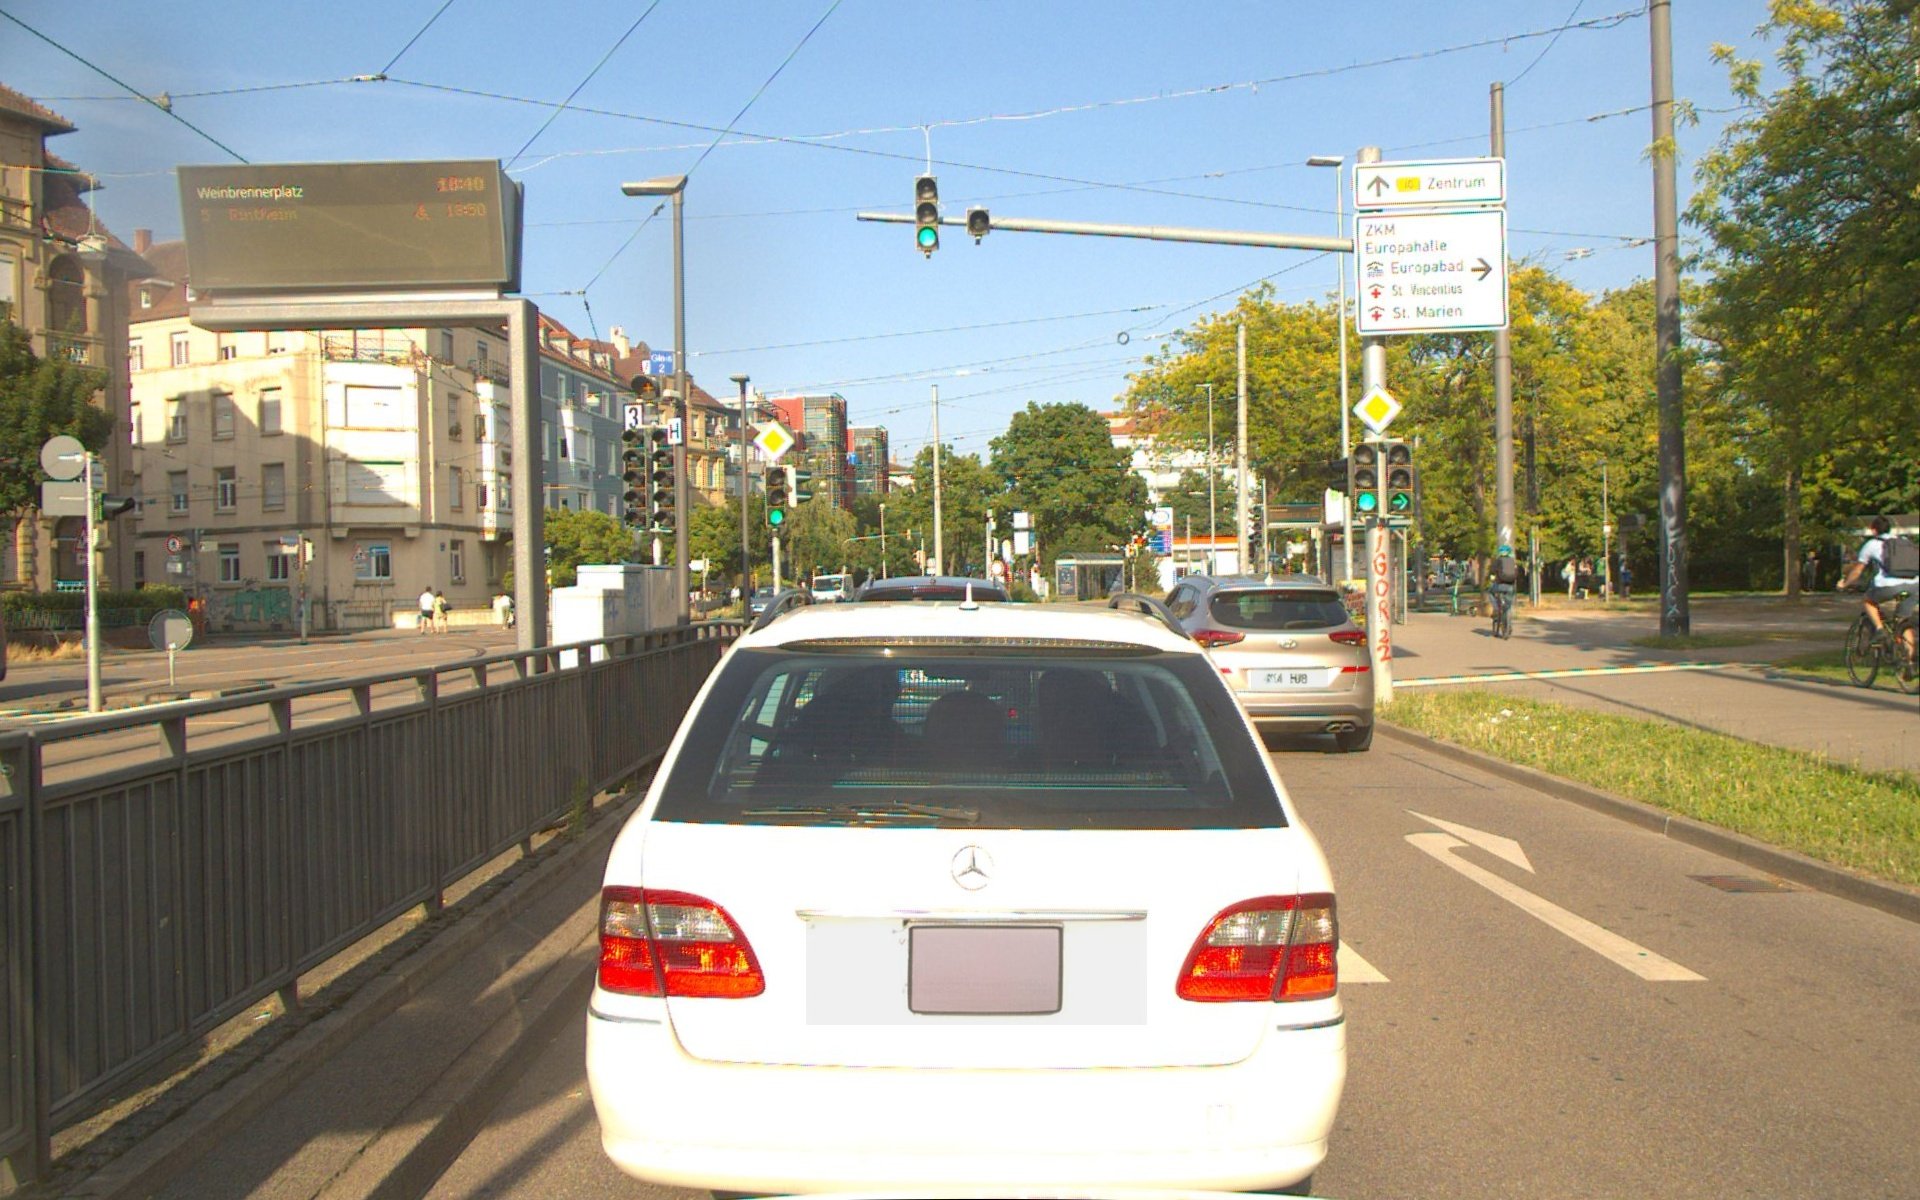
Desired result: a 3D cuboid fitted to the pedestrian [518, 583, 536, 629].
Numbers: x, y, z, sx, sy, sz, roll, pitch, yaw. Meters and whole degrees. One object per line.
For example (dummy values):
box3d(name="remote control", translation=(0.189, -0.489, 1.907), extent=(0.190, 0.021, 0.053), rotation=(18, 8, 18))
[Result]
box3d(name="pedestrian", translation=(-18.212, 0.245, 69.604), extent=(0.573, 1.913, 0.626), rotation=(-1, 1, -3))

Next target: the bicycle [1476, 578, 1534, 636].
box3d(name="bicycle", translation=(10.973, 0.129, 33.352), extent=(0.627, 1.107, 1.734), rotation=(-4, 0, 3))

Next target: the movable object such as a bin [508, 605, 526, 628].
box3d(name="movable object such as a bin", translation=(-18.884, 0.697, 70.472), extent=(0.571, 0.963, 0.663), rotation=(-1, 0, 1))

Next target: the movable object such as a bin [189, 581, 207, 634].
box3d(name="movable object such as a bin", translation=(-25.638, 0.253, 55.651), extent=(0.261, 1.739, 2.357), rotation=(-2, 1, -31))

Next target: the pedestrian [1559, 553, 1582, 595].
box3d(name="pedestrian", translation=(23.962, -1.021, 64.948), extent=(0.628, 1.638, 0.690), rotation=(-1, 0, -1))

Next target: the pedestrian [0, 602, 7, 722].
box3d(name="pedestrian", translation=(-13.155, 0.842, 21.957), extent=(0.578, 1.617, 0.715), rotation=(-1, 0, -5))

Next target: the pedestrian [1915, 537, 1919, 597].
box3d(name="pedestrian", translation=(31.117, -1.057, 53.158), extent=(0.456, 1.900, 0.599), rotation=(1, -1, -32))

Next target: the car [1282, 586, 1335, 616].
box3d(name="car", translation=(20.006, 0.068, 94.868), extent=(1.818, 1.542, 3.994), rotation=(-3, 0, 29))

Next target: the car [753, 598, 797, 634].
box3d(name="car", translation=(-9.057, 0.770, 81.095), extent=(1.642, 1.552, 4.125), rotation=(-1, 2, 0))

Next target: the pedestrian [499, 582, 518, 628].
box3d(name="pedestrian", translation=(-18.905, 0.215, 69.287), extent=(0.572, 1.913, 0.626), rotation=(-1, 0, -2))

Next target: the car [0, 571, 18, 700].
box3d(name="car", translation=(-16.311, 0.610, 24.068), extent=(2.101, 2.049, 5.386), rotation=(-1, 0, -1))

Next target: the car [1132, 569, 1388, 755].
box3d(name="car", translation=(2.831, 0.530, 16.416), extent=(1.798, 1.628, 3.814), rotation=(0, 0, -1))

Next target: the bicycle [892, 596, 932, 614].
box3d(name="bicycle", translation=(-2.634, 0.270, 90.701), extent=(1.975, 0.963, 0.880), rotation=(-1, 0, 19))

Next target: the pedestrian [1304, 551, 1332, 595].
box3d(name="pedestrian", translation=(17.017, -1.294, 78.573), extent=(0.820, 2.049, 0.984), rotation=(-2, 0, -40))

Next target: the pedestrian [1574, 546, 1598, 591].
box3d(name="pedestrian", translation=(24.246, -1.214, 64.105), extent=(0.628, 1.694, 0.690), rotation=(-1, 0, -1))

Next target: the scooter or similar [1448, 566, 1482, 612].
box3d(name="scooter or similar", translation=(13.932, -0.299, 45.663), extent=(0.345, 1.253, 1.131), rotation=(-1, 0, -15))

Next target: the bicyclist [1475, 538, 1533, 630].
box3d(name="bicyclist", translation=(10.953, -0.325, 33.322), extent=(0.705, 1.776, 1.140), rotation=(-4, 0, 3))

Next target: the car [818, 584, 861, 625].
box3d(name="car", translation=(-7.205, 0.231, 99.208), extent=(2.132, 2.278, 5.253), rotation=(-1, 1, 0))

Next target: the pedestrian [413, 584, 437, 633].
box3d(name="pedestrian", translation=(-21.272, 0.328, 65.800), extent=(0.644, 1.913, 0.627), rotation=(-1, 0, 14))

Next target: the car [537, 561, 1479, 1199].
box3d(name="car", translation=(0.070, 0.678, 5.069), extent=(1.798, 1.527, 3.814), rotation=(0, 0, -1))

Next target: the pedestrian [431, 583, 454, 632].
box3d(name="pedestrian", translation=(-20.493, 0.291, 65.493), extent=(0.661, 1.880, 0.649), rotation=(-1, 0, -3))

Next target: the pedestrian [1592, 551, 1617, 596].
box3d(name="pedestrian", translation=(24.517, -1.015, 62.936), extent=(0.628, 1.694, 0.690), rotation=(-1, 0, -1))

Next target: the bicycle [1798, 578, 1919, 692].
box3d(name="bicycle", translation=(9.688, 0.341, 17.437), extent=(0.627, 1.107, 1.939), rotation=(-4, 0, -1))

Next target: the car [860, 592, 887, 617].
box3d(name="car", translation=(-6.063, 0.296, 116.744), extent=(1.731, 1.520, 4.744), rotation=(-2, 2, -1))

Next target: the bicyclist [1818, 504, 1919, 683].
box3d(name="bicyclist", translation=(9.656, -0.077, 17.282), extent=(0.636, 1.776, 1.140), rotation=(-4, 0, -2))

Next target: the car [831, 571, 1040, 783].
box3d(name="car", translation=(-0.215, 0.577, 14.660), extent=(1.608, 1.628, 3.814), rotation=(0, 0, -1))
